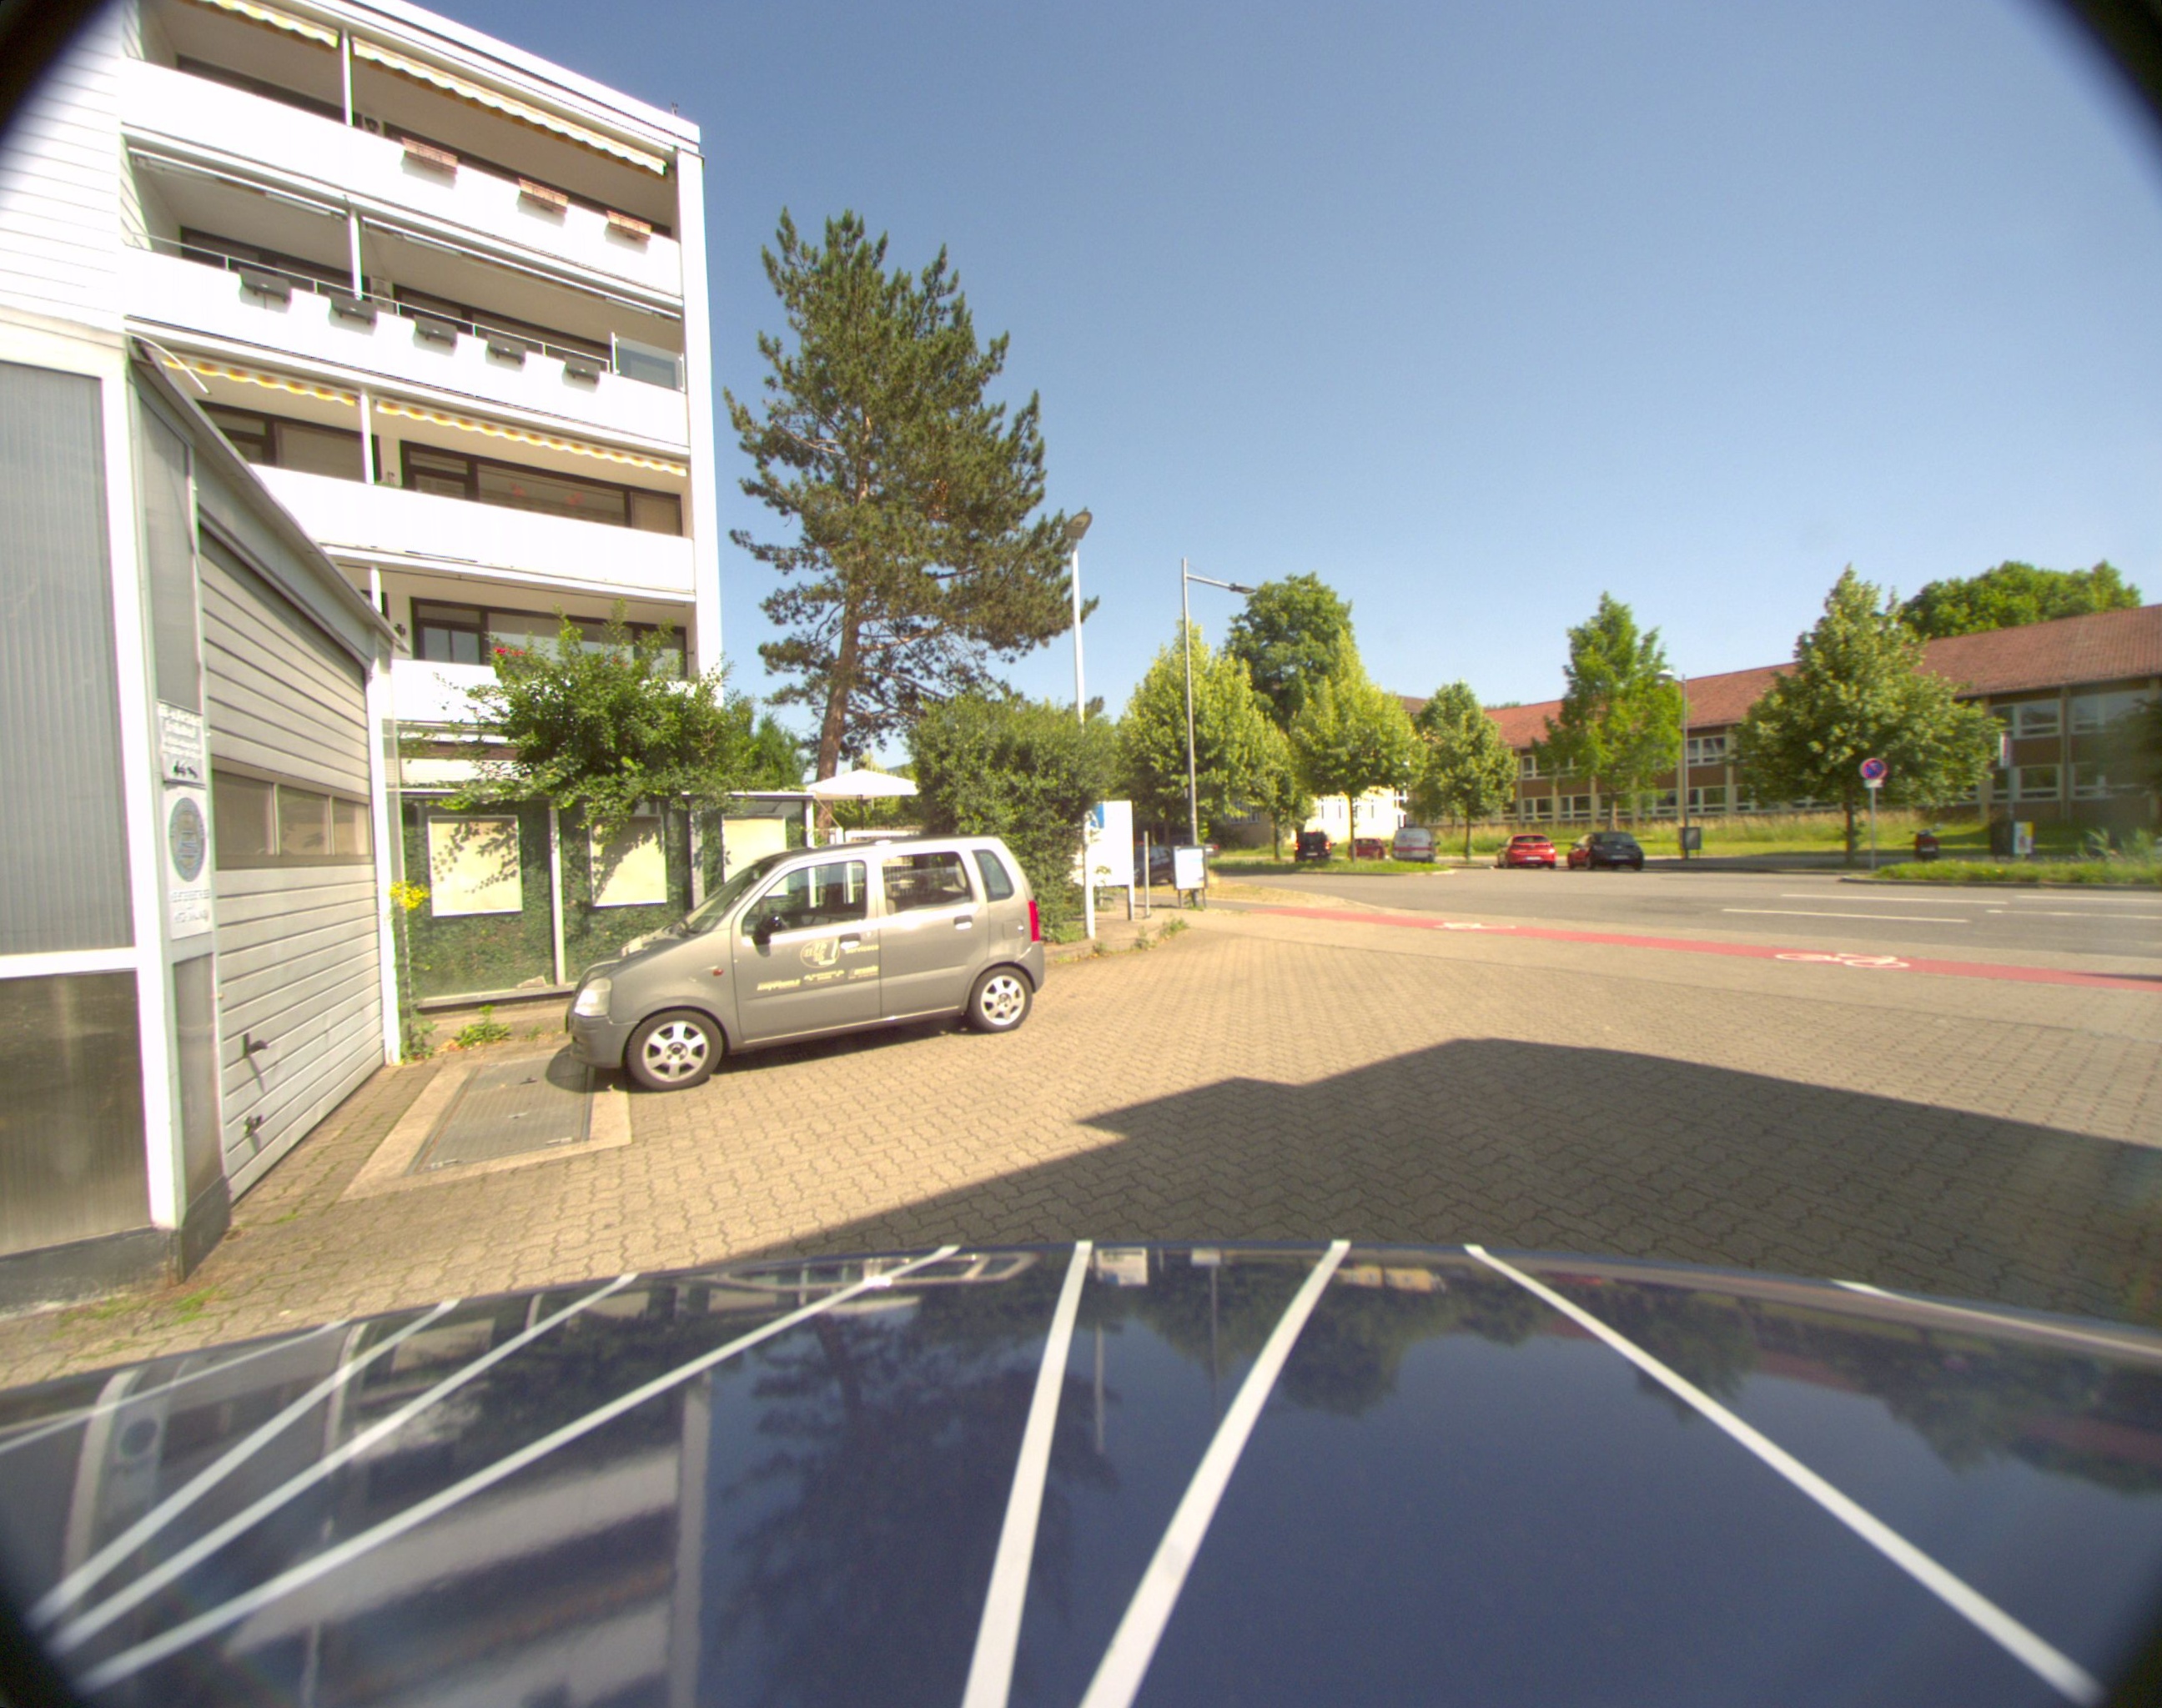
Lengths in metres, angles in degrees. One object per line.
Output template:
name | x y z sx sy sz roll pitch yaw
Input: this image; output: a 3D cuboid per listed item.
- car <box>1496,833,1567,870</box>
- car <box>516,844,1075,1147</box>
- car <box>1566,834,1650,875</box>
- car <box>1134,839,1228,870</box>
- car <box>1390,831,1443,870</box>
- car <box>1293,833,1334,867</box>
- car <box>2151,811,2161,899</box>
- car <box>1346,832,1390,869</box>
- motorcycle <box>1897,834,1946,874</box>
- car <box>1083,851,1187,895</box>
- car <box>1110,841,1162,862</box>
car | 18.479 -0.119 31.369 1.877 1.451 4.232 0 1 22
car | -2.091 0.823 6.113 3.667 1.608 1.688 -4 2 -30
car | 20.036 0.026 29.080 1.737 1.451 4.232 0 0 22
car | 5.434 0.031 42.294 2.004 1.601 5.644 0 0 -33
car | 15.744 -0.172 35.570 1.876 1.712 4.234 1 1 29
car | 12.187 -0.216 39.656 1.877 1.712 4.232 0 1 19
car | 23.808 -0.018 14.150 2.003 1.759 4.380 -3 1 -32
car | 14.164 -0.194 37.692 1.877 1.712 4.232 0 1 19
motorcycle | 24.239 -0.015 21.946 0.556 1.108 1.762 -1 2 34
car | 1.971 0.587 26.391 1.876 1.408 4.234 0 0 31
car | 3.920 -0.188 53.827 1.876 1.383 3.734 1 1 39
